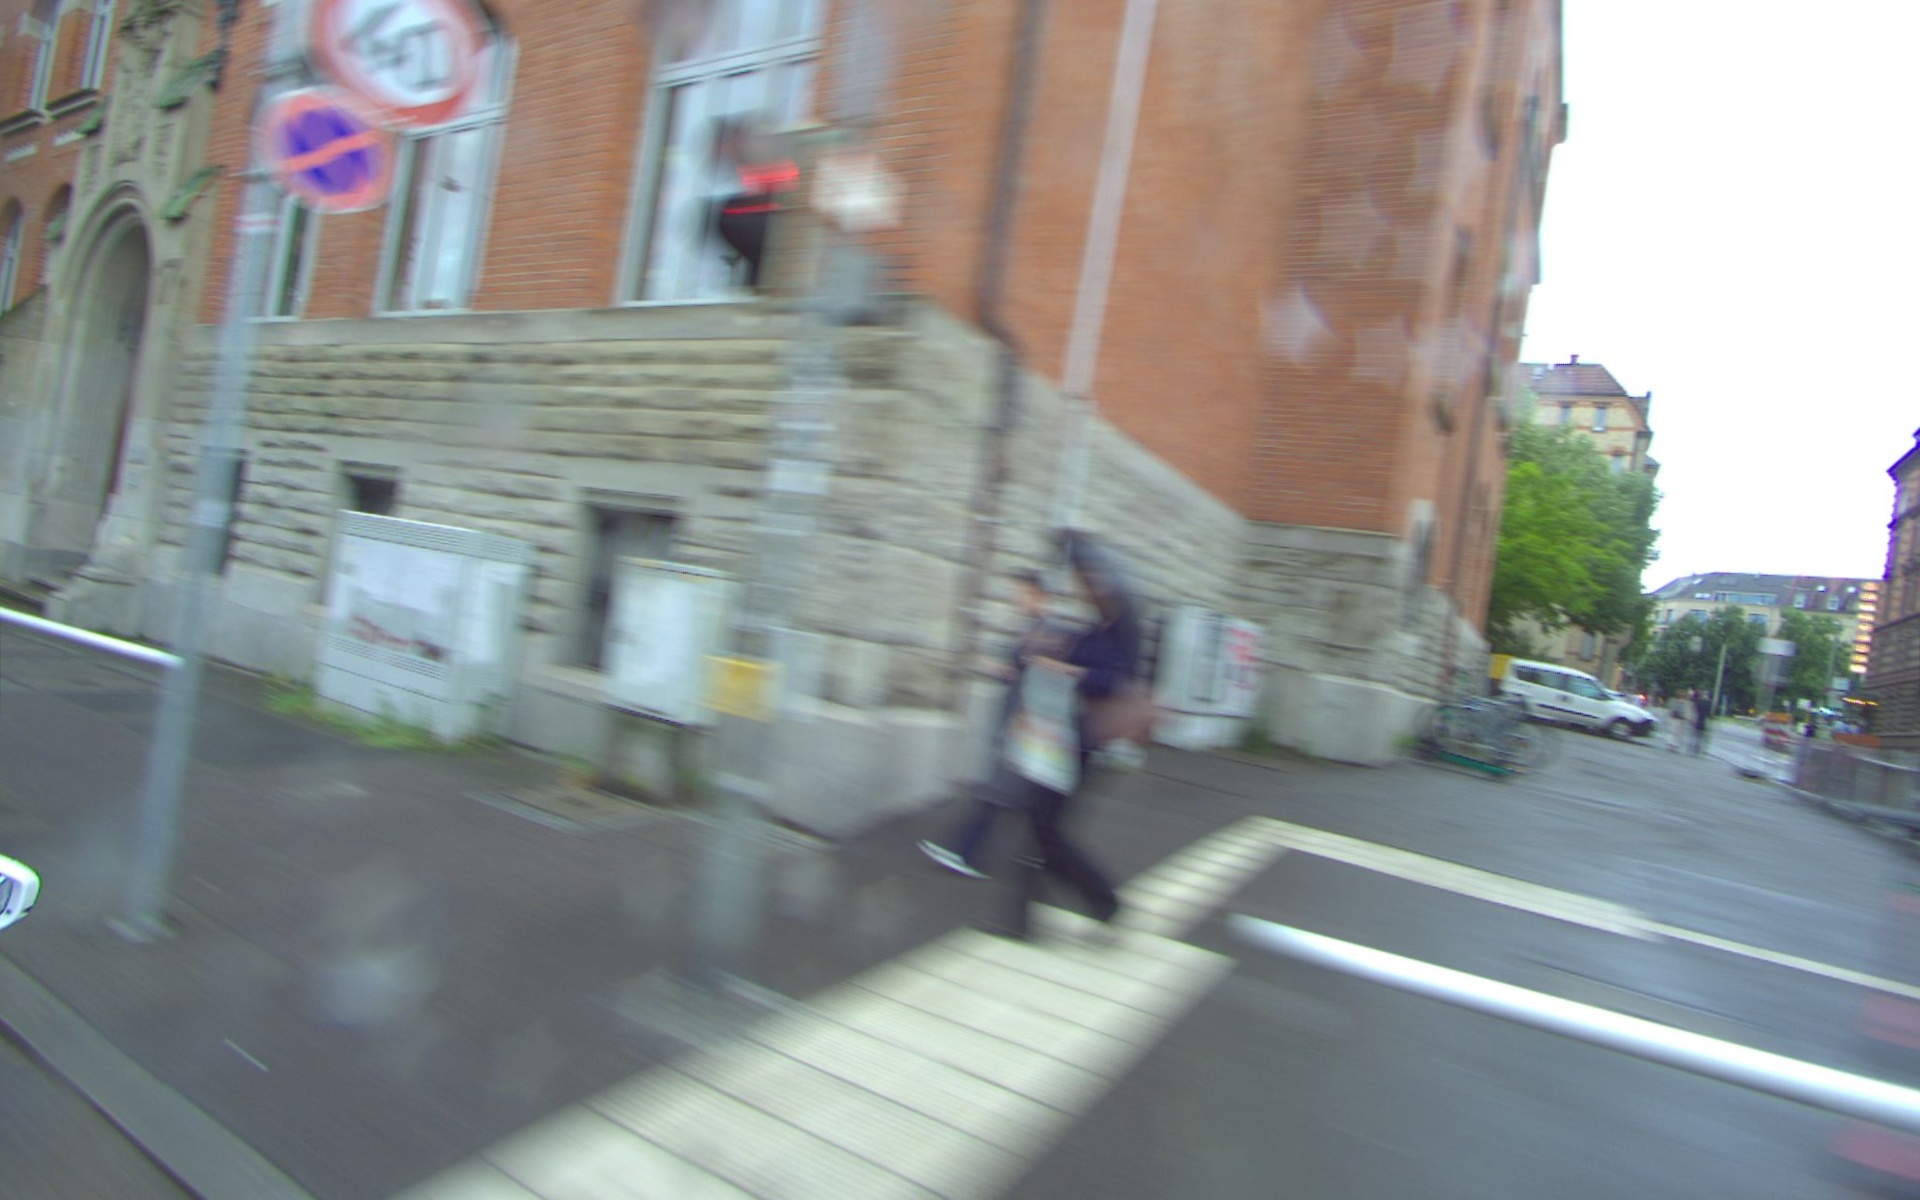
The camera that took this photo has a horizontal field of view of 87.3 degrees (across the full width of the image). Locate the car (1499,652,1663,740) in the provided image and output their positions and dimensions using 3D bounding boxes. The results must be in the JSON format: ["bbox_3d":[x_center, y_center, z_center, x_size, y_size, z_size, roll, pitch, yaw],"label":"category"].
[{"bbox_3d":[18.748,2.881,30.597,3.947,2.038,1.997,6,-1,30],"label":"car"}]

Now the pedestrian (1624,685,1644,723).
[{"bbox_3d":[30.948,4.781,46.193,0.521,1.690,0.547,6,0,28],"label":"pedestrian"}]

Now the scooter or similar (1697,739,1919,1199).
[{"bbox_3d":[2.358,1.017,2.360,1.240,1.266,0.631,6,0,-37],"label":"scooter or similar"}]

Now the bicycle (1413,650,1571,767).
[{"bbox_3d":[7.715,1.545,14.650,1.809,1.261,0.343,13,6,30],"label":"bicycle"}]

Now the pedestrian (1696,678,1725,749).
[{"bbox_3d":[21.024,3.168,28.180,0.427,1.920,0.536,7,-1,31],"label":"pedestrian"}]

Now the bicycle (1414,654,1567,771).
[{"bbox_3d":[7.231,1.508,13.766,1.639,1.219,0.413,12,5,30],"label":"bicycle"}]

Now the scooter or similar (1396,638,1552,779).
[{"bbox_3d":[6.347,1.315,12.466,1.493,1.436,0.408,10,2,33],"label":"scooter or similar"}]

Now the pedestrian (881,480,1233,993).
[{"bbox_3d":[0.453,0.519,4.475,1.055,1.911,0.959,7,1,31],"label":"pedestrian"}]

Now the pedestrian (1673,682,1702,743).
[{"bbox_3d":[20.555,3.171,28.437,0.484,1.638,0.525,7,-1,31],"label":"pedestrian"}]

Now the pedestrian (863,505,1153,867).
[{"bbox_3d":[0.275,0.408,5.360,1.055,1.645,0.959,7,0,31],"label":"pedestrian"}]
